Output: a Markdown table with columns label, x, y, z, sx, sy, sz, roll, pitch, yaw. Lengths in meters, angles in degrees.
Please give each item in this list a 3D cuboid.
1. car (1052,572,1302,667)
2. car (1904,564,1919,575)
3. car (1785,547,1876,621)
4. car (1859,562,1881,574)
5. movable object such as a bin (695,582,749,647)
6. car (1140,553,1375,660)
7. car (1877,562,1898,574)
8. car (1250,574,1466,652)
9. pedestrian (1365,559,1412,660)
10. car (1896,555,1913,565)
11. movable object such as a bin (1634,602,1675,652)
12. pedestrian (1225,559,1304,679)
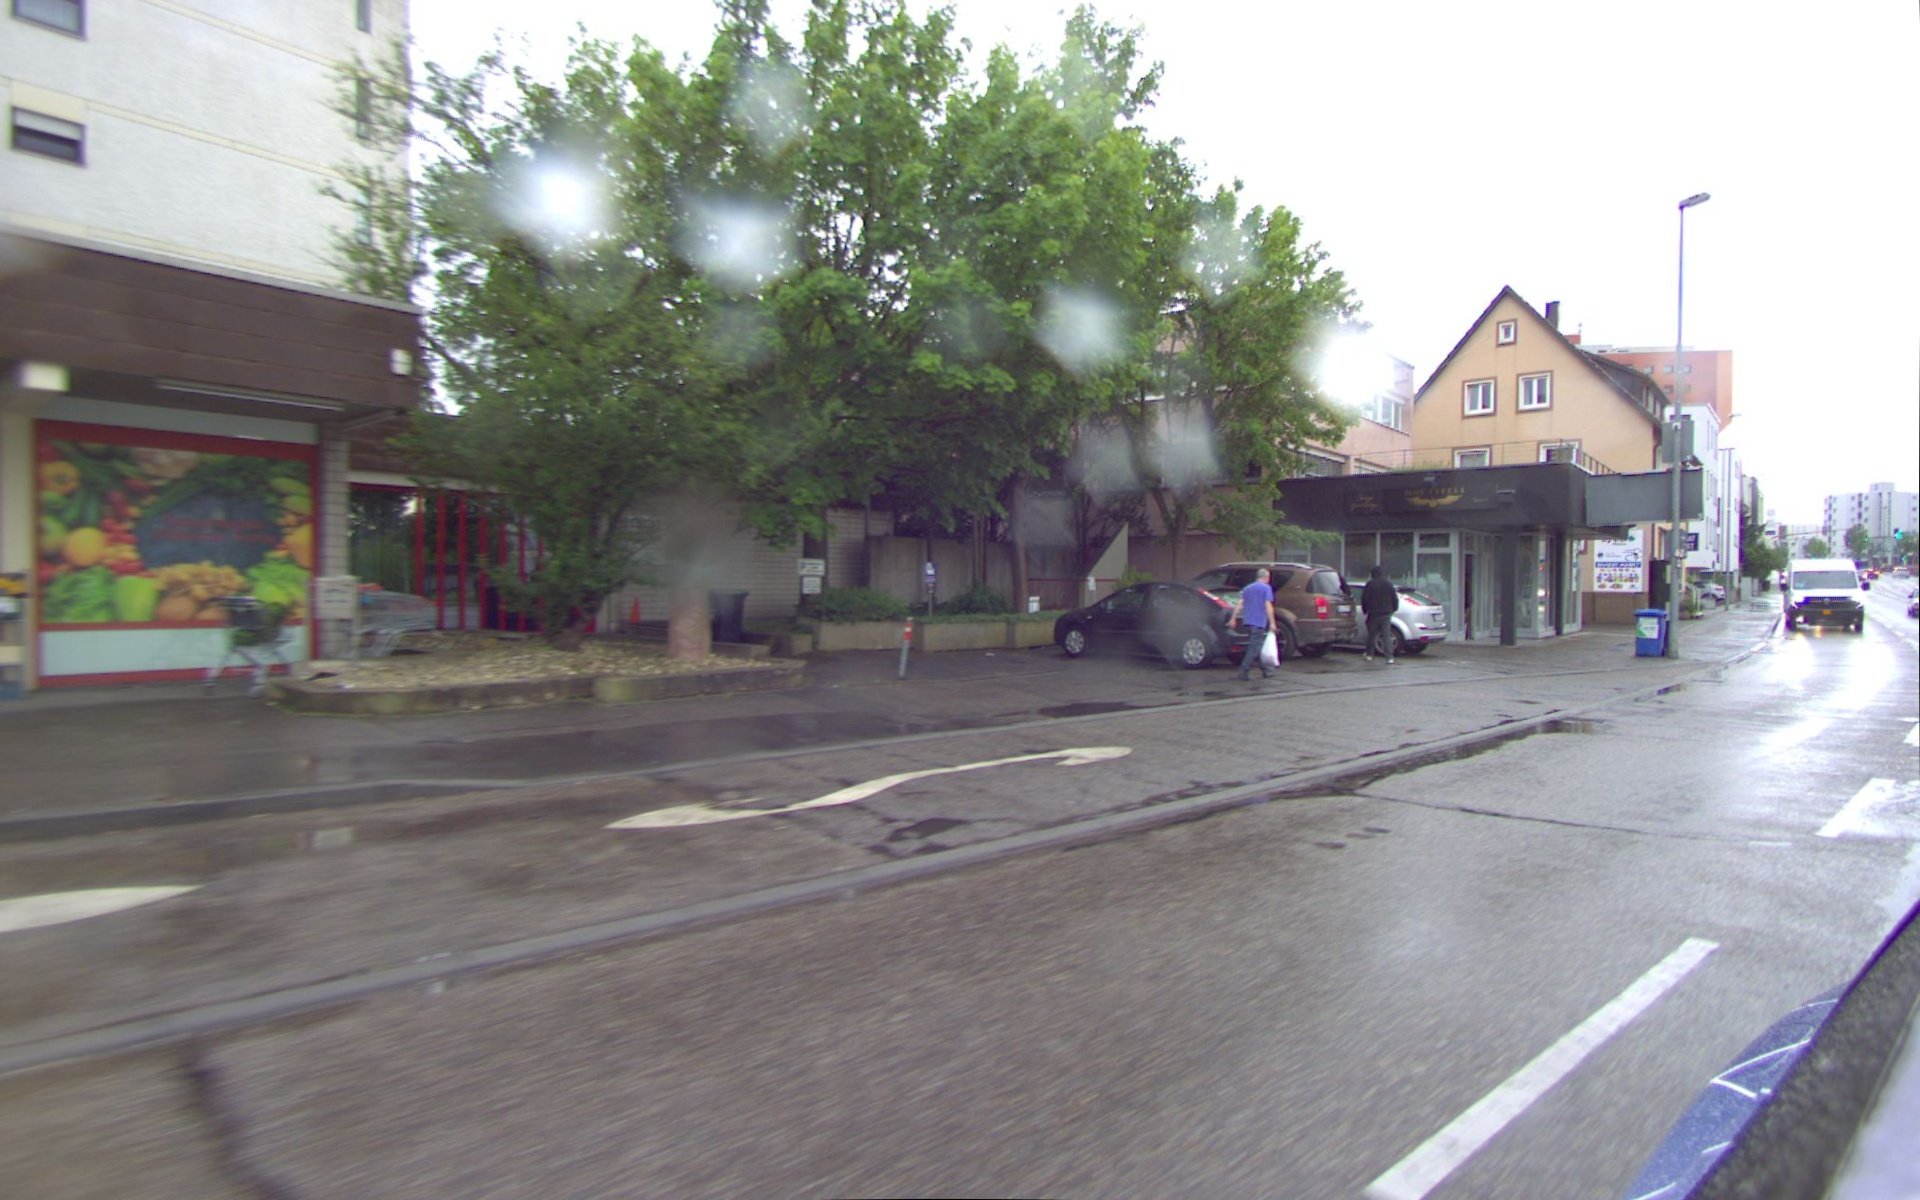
| label | x | y | z | sx | sy | sz | roll | pitch | yaw |
| --- | --- | --- | --- | --- | --- | --- | --- | --- | --- |
| car | 3.844 | 0.253 | 18.415 | 4.149 | 1.471 | 1.774 | 2 | 3 | 44 |
| car | 136.205 | -4.396 | 144.581 | 1.648 | 1.434 | 4.079 | 5 | 6 | 41 |
| car | 31.589 | -0.686 | 36.834 | 2.288 | 2.410 | 6.532 | 2 | 4 | 40 |
| car | 116.275 | -4.115 | 129.334 | 1.711 | 1.467 | 4.144 | 2 | 4 | 37 |
| movable object such as a bin | -4.085 | 0.240 | 17.365 | 0.643 | 1.069 | 0.632 | 2 | 1 | 40 |
| car | 5.787 | 0.038 | 20.032 | 1.845 | 1.894 | 4.099 | -1 | 2 | -43 |
| car | 124.430 | -4.310 | 135.784 | 1.766 | 1.430 | 4.462 | 2 | 4 | 40 |
| car | 8.496 | 0.201 | 21.844 | 1.717 | 1.465 | 3.992 | -1 | 2 | -43 |
| pedestrian | 8.085 | 0.157 | 19.120 | 0.700 | 1.843 | 0.793 | 0 | 3 | 15 |
| car | 157.644 | -6.651 | 168.942 | 2.001 | 1.637 | 4.872 | 2 | 4 | 43 |
| movable object such as a bin | 15.781 | 0.606 | 22.985 | 0.636 | 1.088 | 0.687 | 2 | 0 | 44 |
| pedestrian | 4.679 | 0.268 | 15.560 | 0.875 | 1.758 | 0.748 | 3 | 2 | 44 |
